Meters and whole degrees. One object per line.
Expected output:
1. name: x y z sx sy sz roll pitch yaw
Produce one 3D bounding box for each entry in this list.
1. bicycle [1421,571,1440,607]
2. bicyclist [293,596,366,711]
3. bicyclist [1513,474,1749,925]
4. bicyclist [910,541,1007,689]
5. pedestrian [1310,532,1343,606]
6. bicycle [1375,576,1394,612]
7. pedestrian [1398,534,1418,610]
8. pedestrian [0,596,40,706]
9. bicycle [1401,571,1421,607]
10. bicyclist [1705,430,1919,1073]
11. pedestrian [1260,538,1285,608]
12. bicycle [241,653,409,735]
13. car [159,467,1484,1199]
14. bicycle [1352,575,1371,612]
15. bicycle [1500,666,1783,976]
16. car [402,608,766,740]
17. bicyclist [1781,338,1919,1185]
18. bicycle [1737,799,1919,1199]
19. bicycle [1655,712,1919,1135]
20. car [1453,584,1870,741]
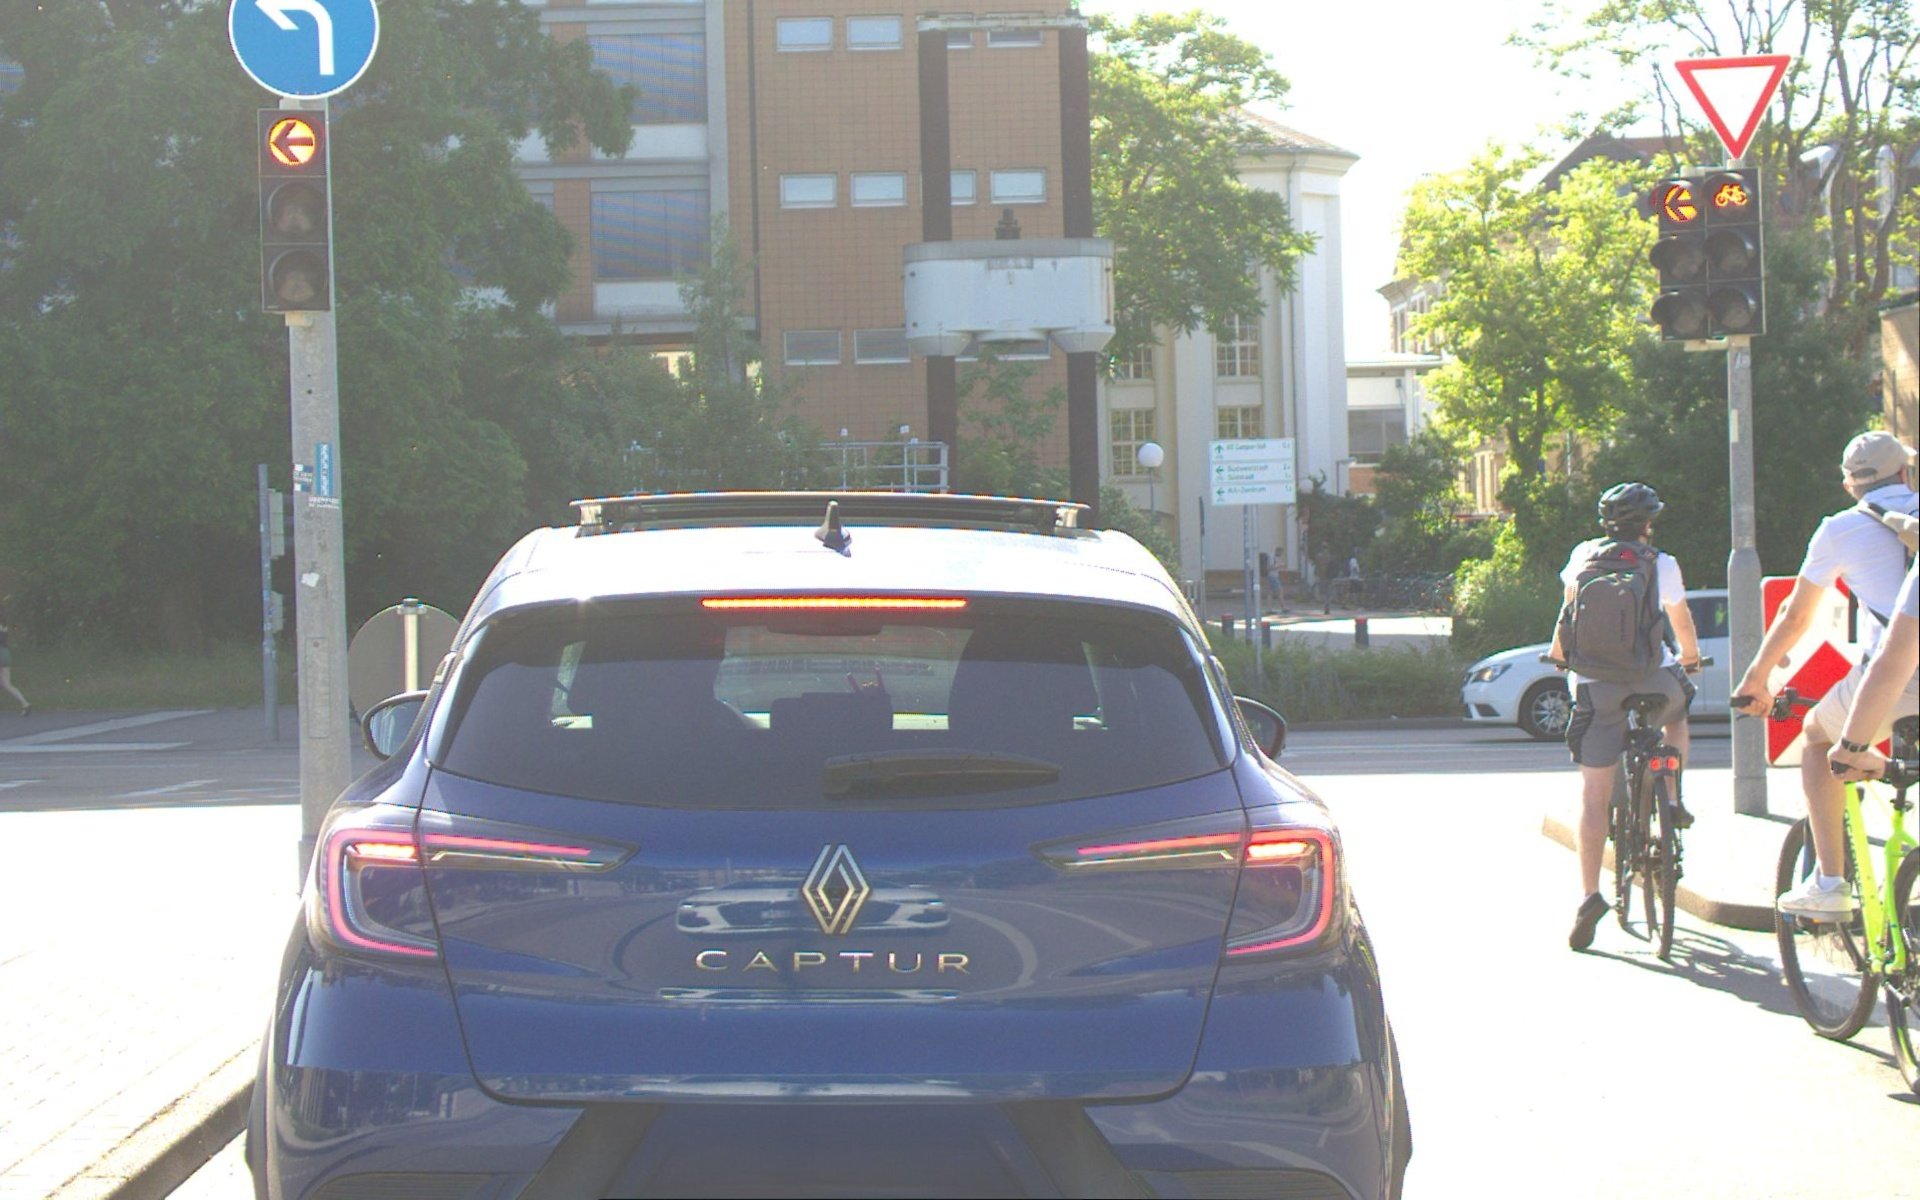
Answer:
1. bicycle: 12.918 -0.302 94.421 0.405 0.969 1.683 1 1 4
2. bicyclist: -8.032 0.672 43.791 0.737 1.436 0.598 -2 1 -27
3. bicyclist: 2.510 0.354 12.950 0.726 1.623 0.969 1 0 4
4. bicyclist: -0.017 0.188 44.265 1.102 1.861 0.652 -1 1 10
5. pedestrian: 9.337 -0.793 87.602 0.623 1.849 0.563 -1 1 -17
6. bicycle: 11.614 -0.173 94.041 0.405 0.969 1.683 1 1 4
7. pedestrian: 12.039 -0.754 92.399 0.475 2.007 0.468 -1 1 6
8. pedestrian: -13.994 0.757 50.084 0.860 1.565 0.559 -5 0 13
9. bicycle: 12.382 -0.309 94.407 0.405 0.969 1.683 1 1 4
10. bicyclist: 2.625 0.406 9.814 0.645 1.733 1.067 1 0 -6
11. pedestrian: 8.338 -0.734 91.710 0.613 1.849 0.467 -1 1 6
12. bicycle: -8.079 1.186 43.774 2.005 0.961 0.598 -2 1 -27
13. car: -0.266 0.613 6.701 1.803 1.626 4.000 0 1 -2
14. bicycle: 10.992 -0.182 94.085 0.405 0.969 1.683 1 1 4
15. bicycle: 2.513 0.781 12.905 0.739 0.992 2.173 1 1 3
16. car: -4.289 0.849 39.471 3.837 1.430 1.742 -1 -1 8
17. bicyclist: 2.235 0.317 7.249 0.751 1.663 1.016 1 0 1
18. bicycle: 2.231 0.938 7.261 0.740 0.893 1.978 1 1 1
19. bicycle: 2.614 0.865 9.826 0.659 0.999 1.970 1 1 -6
20. car: 6.788 0.598 33.597 3.837 1.430 1.742 -1 0 7
